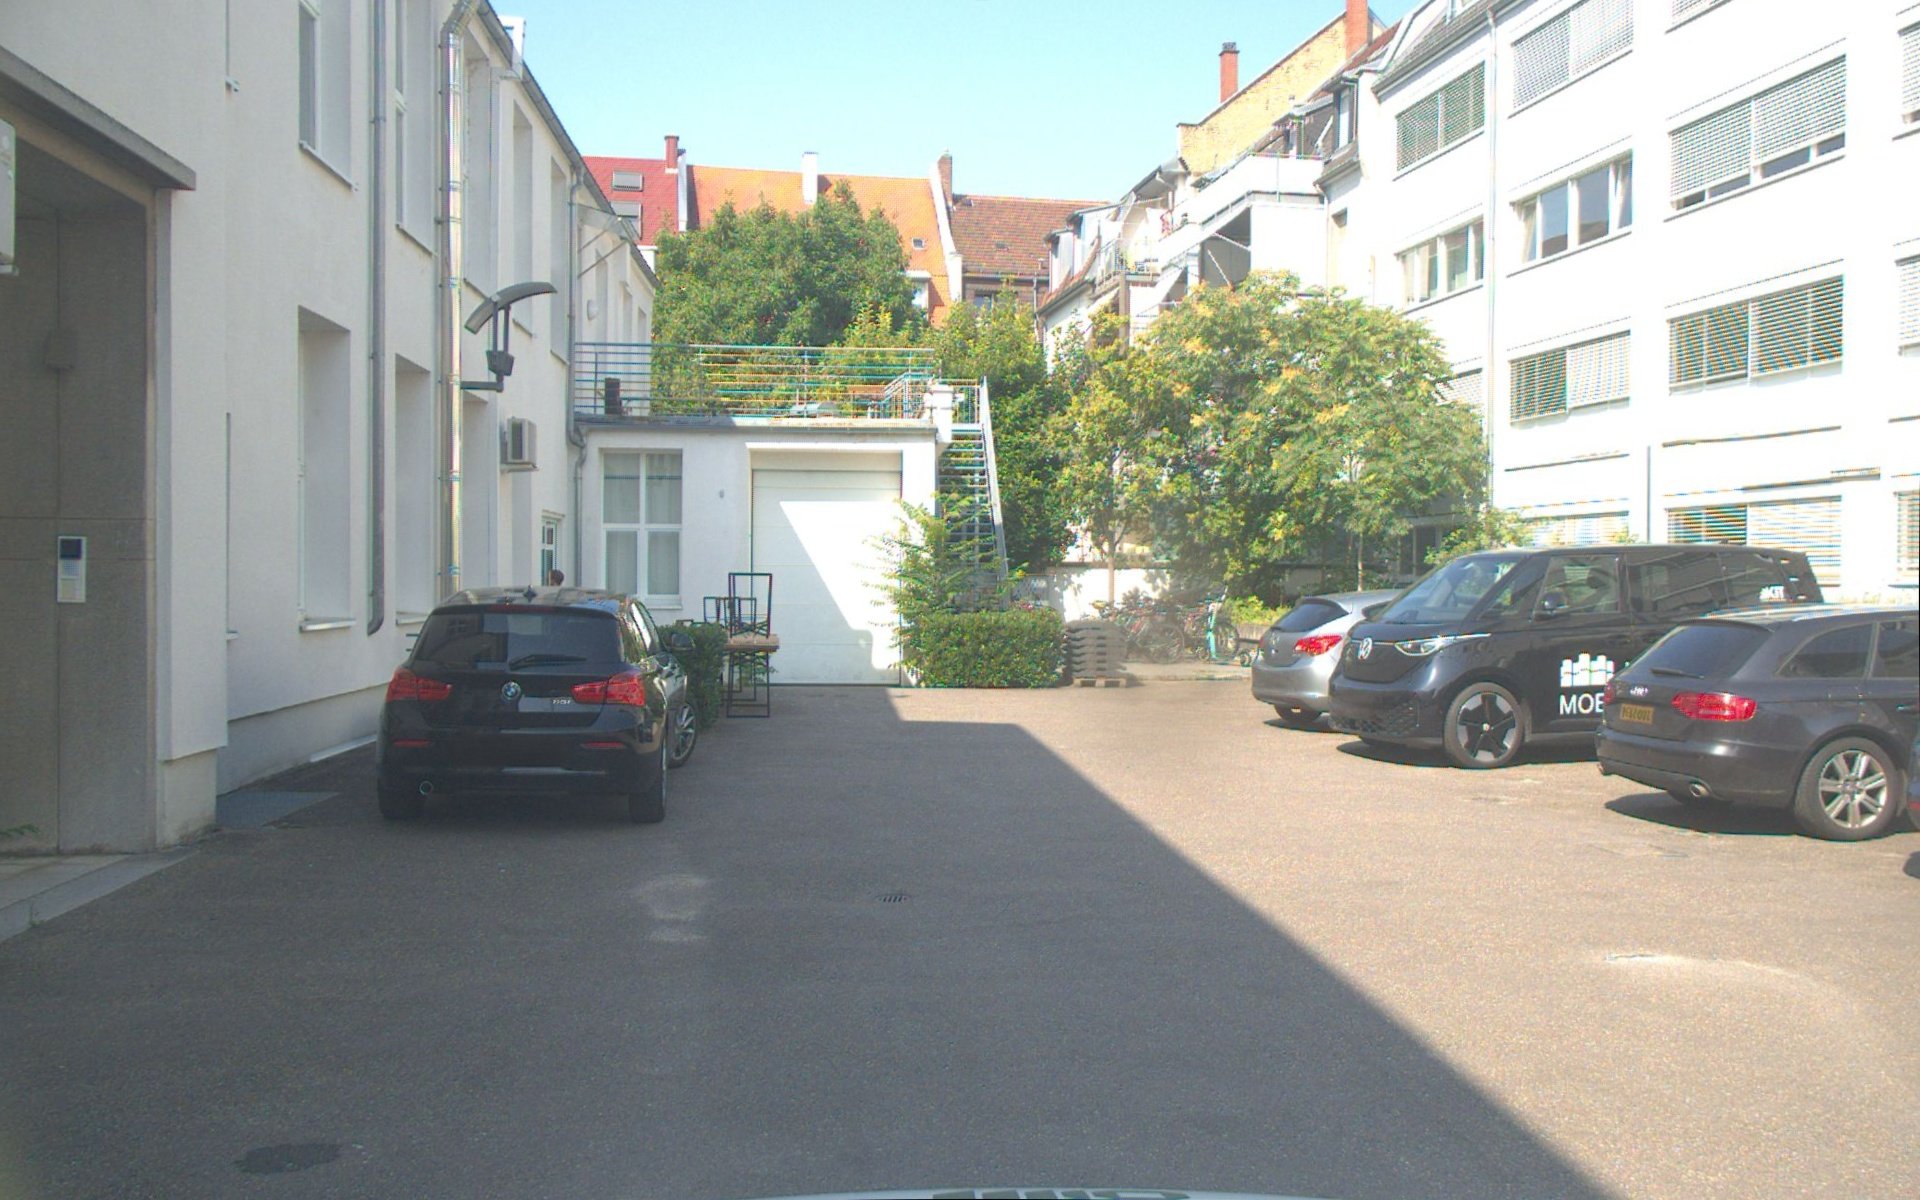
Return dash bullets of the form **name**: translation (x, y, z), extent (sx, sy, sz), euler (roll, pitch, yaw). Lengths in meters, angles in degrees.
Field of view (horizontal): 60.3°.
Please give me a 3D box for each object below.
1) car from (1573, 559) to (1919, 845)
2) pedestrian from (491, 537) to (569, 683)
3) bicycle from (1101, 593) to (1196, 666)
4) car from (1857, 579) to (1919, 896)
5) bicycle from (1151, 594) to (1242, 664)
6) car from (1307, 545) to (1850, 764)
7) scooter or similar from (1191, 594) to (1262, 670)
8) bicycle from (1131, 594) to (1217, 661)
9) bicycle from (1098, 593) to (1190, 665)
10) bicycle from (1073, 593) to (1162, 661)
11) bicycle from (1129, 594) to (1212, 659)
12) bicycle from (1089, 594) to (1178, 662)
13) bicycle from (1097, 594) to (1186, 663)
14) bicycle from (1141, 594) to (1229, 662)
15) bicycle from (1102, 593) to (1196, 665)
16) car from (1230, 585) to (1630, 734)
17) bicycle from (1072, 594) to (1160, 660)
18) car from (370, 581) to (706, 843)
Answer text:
- **car**: translation (6.450, 0.637, 11.092), extent (4.039, 1.721, 1.768), euler (1, 0, -7)
- **pedestrian**: translation (-6.180, 0.137, 23.800), extent (0.896, 2.049, 0.934), euler (1, 0, -4)
- **bicycle**: translation (3.266, 0.511, 28.657), extent (1.591, 1.235, 0.327), euler (0, 0, -3)
- **car**: translation (6.846, 0.727, 8.298), extent (3.791, 1.616, 1.875), euler (1, 0, -10)
- **bicycle**: translation (4.247, 0.523, 29.705), extent (1.588, 1.235, 0.327), euler (0, 0, 10)
- **car**: translation (5.635, 0.450, 15.239), extent (4.423, 1.826, 1.876), euler (0, 0, -14)
- **scooter or similar**: translation (4.586, 0.535, 28.518), extent (0.375, 1.283, 1.331), euler (-1, 1, -36)
- **bicycle**: translation (4.024, 0.518, 31.127), extent (1.588, 1.235, 0.424), euler (0, 0, 8)
- **bicycle**: translation (3.257, 0.510, 29.273), extent (1.591, 1.235, 0.327), euler (0, 0, -3)
- **bicycle**: translation (2.922, 0.504, 30.742), extent (1.591, 1.235, 0.423), euler (-1, 0, -5)
- **bicycle**: translation (4.088, 0.517, 32.160), extent (1.588, 1.235, 0.424), euler (0, 0, 8)
- **bicycle**: translation (3.156, 0.508, 30.082), extent (1.588, 1.235, 0.327), euler (0, 0, 9)
- **bicycle**: translation (3.259, 0.510, 29.725), extent (1.588, 1.235, 0.327), euler (0, 0, 5)
- **bicycle**: translation (4.164, 0.521, 30.560), extent (1.588, 1.235, 0.424), euler (0, 0, 9)
- **bicycle**: translation (3.307, 0.511, 28.983), extent (1.591, 1.235, 0.327), euler (0, 0, -3)
- **car**: translation (5.096, 0.602, 18.088), extent (3.865, 1.508, 1.768), euler (0, 0, -14)
- **bicycle**: translation (2.958, 0.504, 31.381), extent (1.593, 1.235, 0.423), euler (-1, 0, -10)
- **car**: translation (-2.705, 0.641, 11.415), extent (1.656, 1.484, 3.918), euler (1, 0, -6)
